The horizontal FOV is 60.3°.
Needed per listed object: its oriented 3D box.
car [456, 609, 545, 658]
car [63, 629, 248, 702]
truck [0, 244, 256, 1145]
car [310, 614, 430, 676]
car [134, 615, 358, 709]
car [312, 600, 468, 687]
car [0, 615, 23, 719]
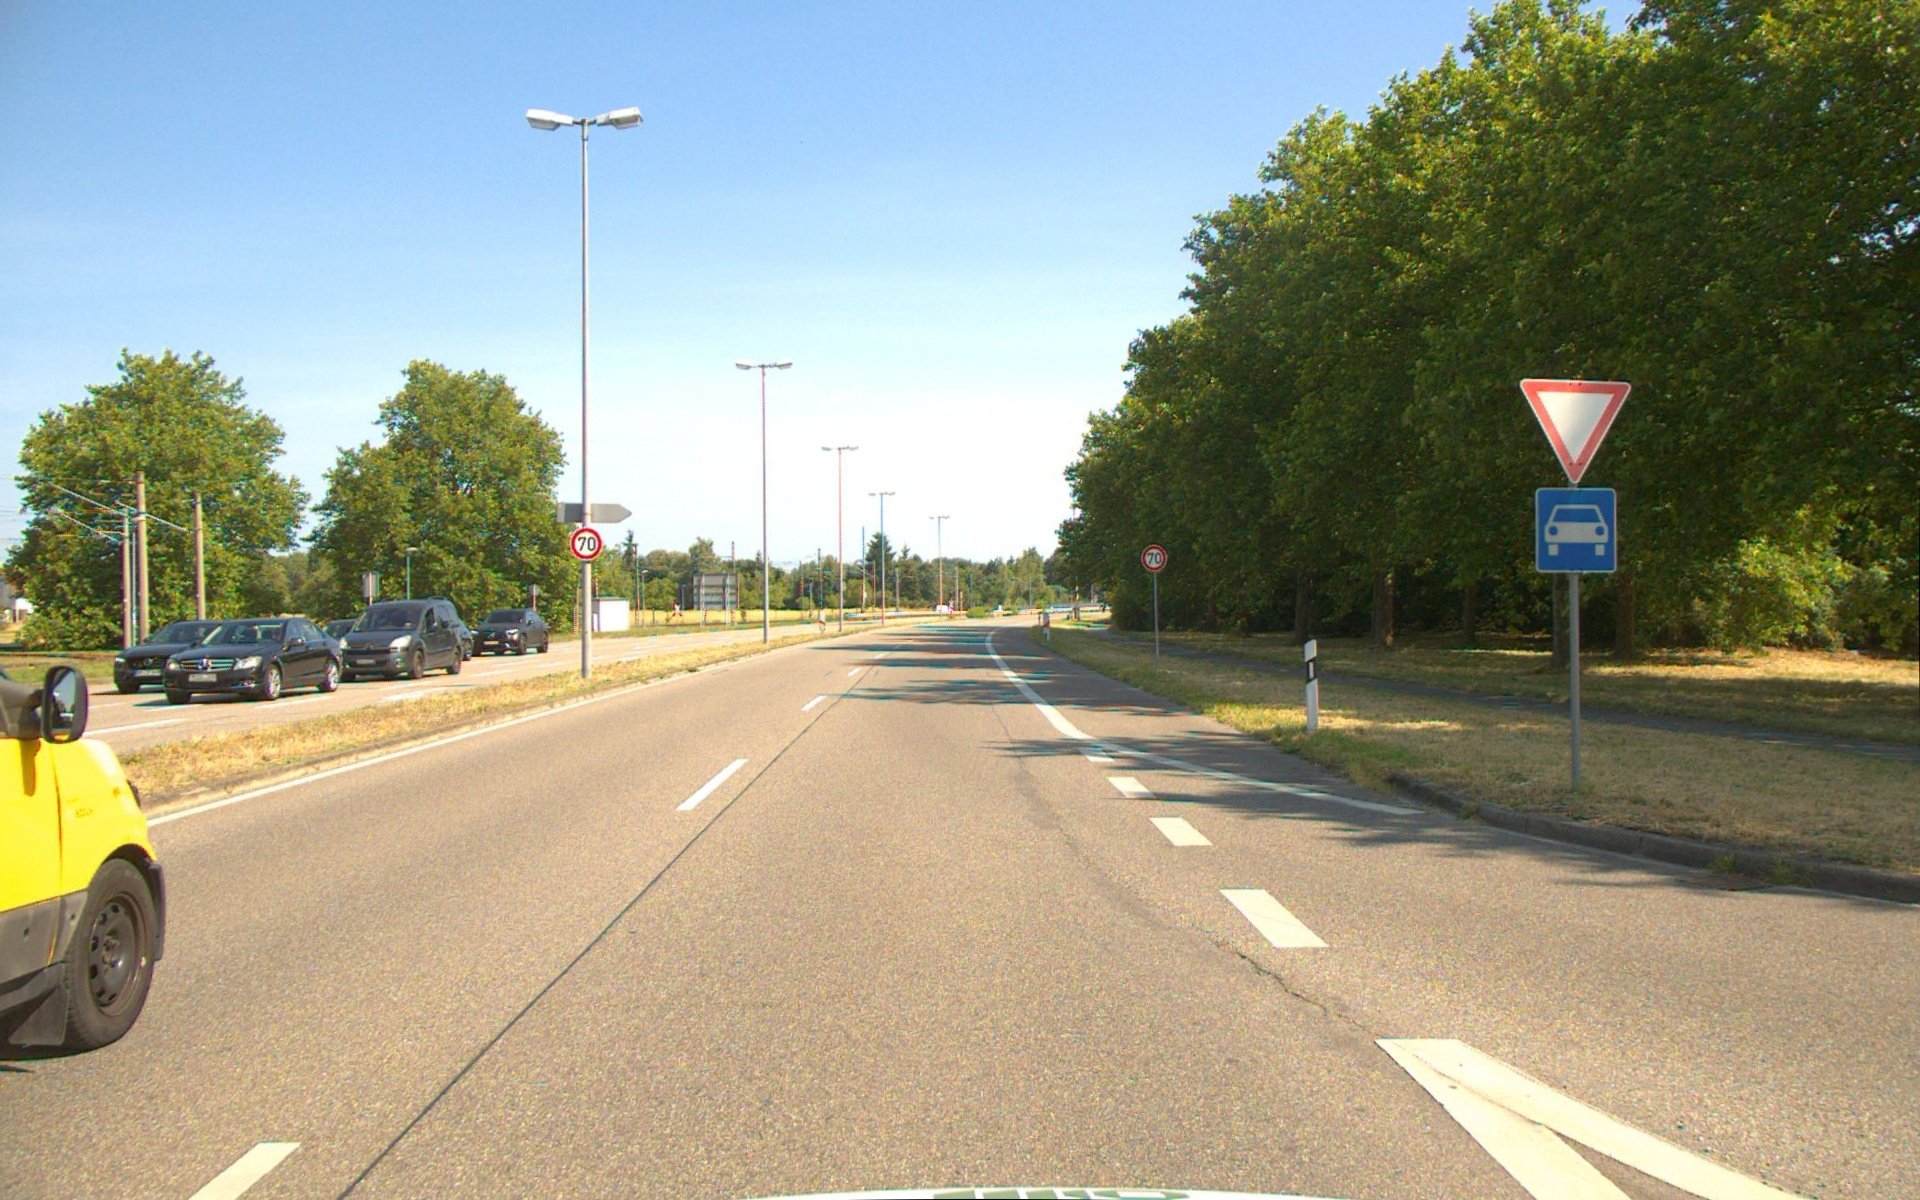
[{"bbox_3d":[-16.511,1.172,59.682,1.942,1.689,4.554,-1,0,0],"label":"car"},{"bbox_3d":[-16.815,1.329,34.795,1.953,1.355,3.999,-1,0,-1],"label":"car"},{"bbox_3d":[-3.665,0.256,3.358,2.069,2.500,5.915,0,0,-2],"label":"truck"},{"bbox_3d":[-16.685,1.242,47.012,1.824,1.572,4.405,-2,0,-1],"label":"car"},{"bbox_3d":[-12.476,1.034,29.260,1.940,1.483,4.451,-1,0,1],"label":"car"},{"bbox_3d":[-12.813,0.930,37.496,1.940,1.811,4.489,-1,0,0],"label":"car"},{"bbox_3d":[-16.314,1.108,24.776,2.030,1.651,4.488,-3,0,-2],"label":"car"}]
